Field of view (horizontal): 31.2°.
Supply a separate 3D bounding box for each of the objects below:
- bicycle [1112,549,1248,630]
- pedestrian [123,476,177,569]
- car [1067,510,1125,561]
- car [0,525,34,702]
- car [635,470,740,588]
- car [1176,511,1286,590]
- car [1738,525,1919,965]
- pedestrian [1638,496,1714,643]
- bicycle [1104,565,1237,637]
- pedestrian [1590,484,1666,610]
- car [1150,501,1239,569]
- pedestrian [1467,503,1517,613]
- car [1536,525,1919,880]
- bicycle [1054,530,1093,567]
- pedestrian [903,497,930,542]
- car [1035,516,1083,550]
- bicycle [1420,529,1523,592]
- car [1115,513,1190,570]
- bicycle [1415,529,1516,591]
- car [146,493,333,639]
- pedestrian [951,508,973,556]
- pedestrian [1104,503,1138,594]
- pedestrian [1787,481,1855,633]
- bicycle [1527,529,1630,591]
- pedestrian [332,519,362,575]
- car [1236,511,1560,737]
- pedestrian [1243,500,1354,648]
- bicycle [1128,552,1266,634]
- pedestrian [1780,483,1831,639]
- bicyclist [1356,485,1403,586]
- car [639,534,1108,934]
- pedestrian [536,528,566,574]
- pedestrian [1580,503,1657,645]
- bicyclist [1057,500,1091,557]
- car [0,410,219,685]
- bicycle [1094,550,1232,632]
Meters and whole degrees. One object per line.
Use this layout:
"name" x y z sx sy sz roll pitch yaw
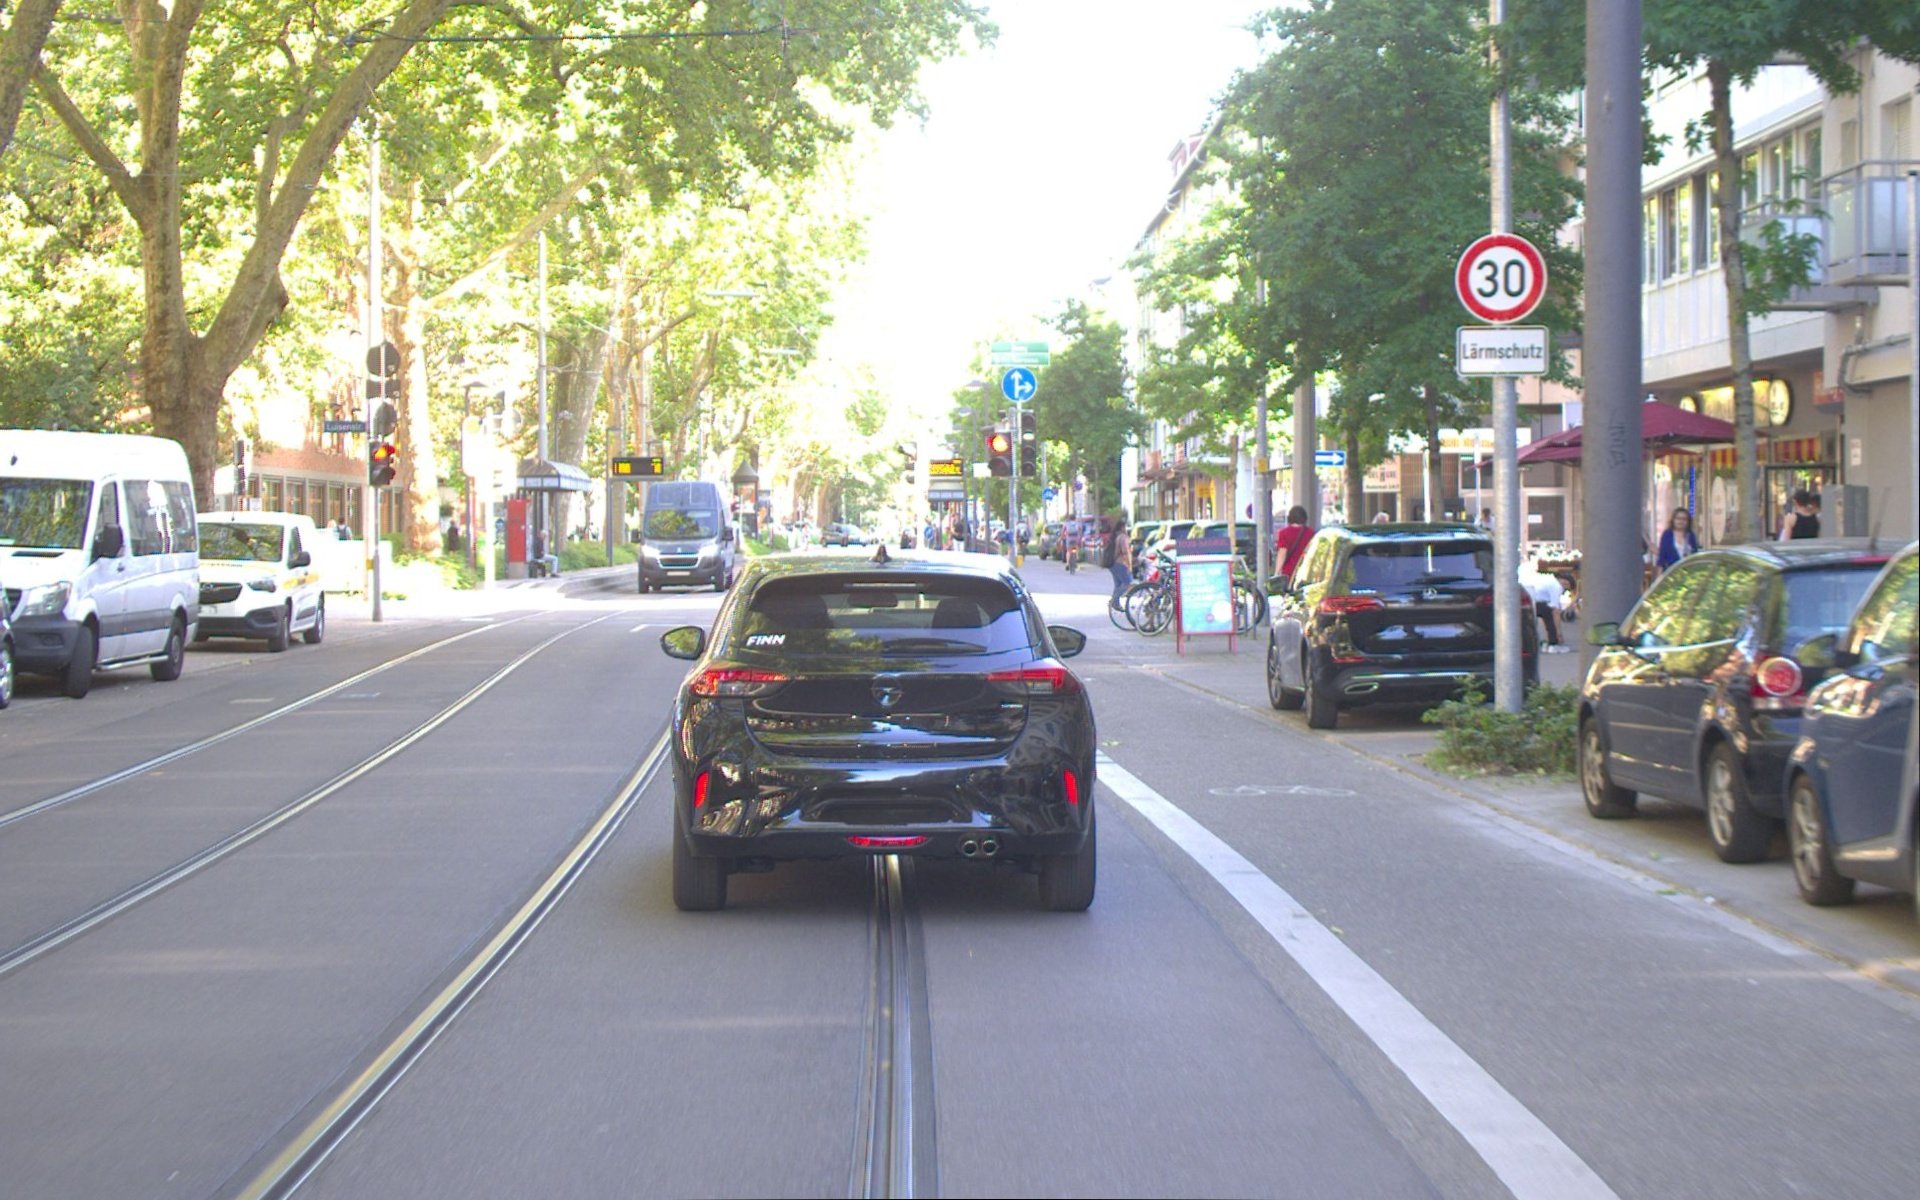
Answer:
"bicycle" 3.057 -0.145 47.767 1.815 1.096 0.498 1 1 -9
"pedestrian" -16.349 -1.570 69.403 0.923 1.829 0.920 1 3 -4
"car" 5.301 -2.500 134.228 1.993 1.946 4.000 1 1 -1
"car" -9.365 0.125 29.254 1.916 1.556 4.284 1 1 -2
"car" -6.594 -1.712 83.923 2.113 2.728 6.115 -1 1 -1
"car" 6.018 -1.104 76.717 1.993 1.610 4.445 3 1 -1
"car" 4.093 0.484 13.224 1.444 1.531 2.881 -2 2 -1
"pedestrian" 8.389 -0.359 40.290 0.596 1.672 0.935 -2 1 -3
"bicycle" 2.967 0.012 48.570 1.815 0.991 0.481 1 1 -3
"pedestrian" 8.834 -0.700 45.473 0.676 1.653 0.814 1 1 -15
"car" 5.711 -1.588 84.178 1.799 1.600 4.415 1 1 -1
"pedestrian" 8.698 -0.686 56.234 0.590 1.778 0.995 1 1 -2
"car" 4.128 0.405 17.054 1.622 1.476 3.890 -3 2 -3
"bicycle" 3.516 -1.598 106.655 0.860 1.132 2.396 1 1 -7
"pedestrian" -1.675 -3.111 132.811 0.751 1.703 0.762 1 1 34
"car" 4.393 -2.962 153.228 1.993 1.481 4.000 1 1 -1
"bicycle" 10.021 -0.777 67.395 1.914 1.203 0.511 -1 2 -4
"car" 5.568 -1.696 99.829 1.857 1.610 4.398 1 1 -1
"bicycle" 9.990 -0.788 67.929 1.914 1.203 0.511 -1 2 -4
"car" -9.550 -0.465 45.849 1.763 1.844 4.319 1 1 -3
"pedestrian" 0.065 -2.264 113.857 0.630 1.571 0.871 2 1 -1
"pedestrian" 2.791 -0.881 59.490 0.551 1.556 0.645 1 0 3
"pedestrian" 10.317 -0.515 41.176 0.526 1.799 0.630 1 1 42
"bicycle" 12.158 -0.788 67.578 1.914 1.203 0.511 0 2 -4
"pedestrian" -18.317 -1.577 102.812 0.735 1.666 0.861 1 1 0
"car" 3.447 0.142 27.816 1.758 1.582 4.330 -4 1 -3
"pedestrian" 4.053 -0.317 41.221 1.044 1.752 0.878 1 1 -17
"bicycle" 3.247 -0.100 47.225 1.815 1.096 0.481 1 1 -9
"pedestrian" 9.824 -0.454 39.947 0.431 1.790 0.489 1 1 -2
"bicyclist" 7.204 -1.106 59.061 0.677 1.711 0.965 1 1 1
"car" -0.415 0.482 14.884 1.759 1.503 3.683 1 1 -3
"pedestrian" -10.429 -1.255 87.652 0.705 1.164 0.660 -1 1 -4
"pedestrian" 7.713 -0.312 40.293 0.642 1.632 0.870 -2 1 -3
"bicyclist" 3.527 -2.204 106.574 0.860 1.753 1.054 1 1 -7
"car" -9.318 -0.547 35.231 2.108 2.568 6.024 1 1 0
"bicycle" 2.741 -0.123 46.492 1.815 1.096 0.525 0 1 -1
